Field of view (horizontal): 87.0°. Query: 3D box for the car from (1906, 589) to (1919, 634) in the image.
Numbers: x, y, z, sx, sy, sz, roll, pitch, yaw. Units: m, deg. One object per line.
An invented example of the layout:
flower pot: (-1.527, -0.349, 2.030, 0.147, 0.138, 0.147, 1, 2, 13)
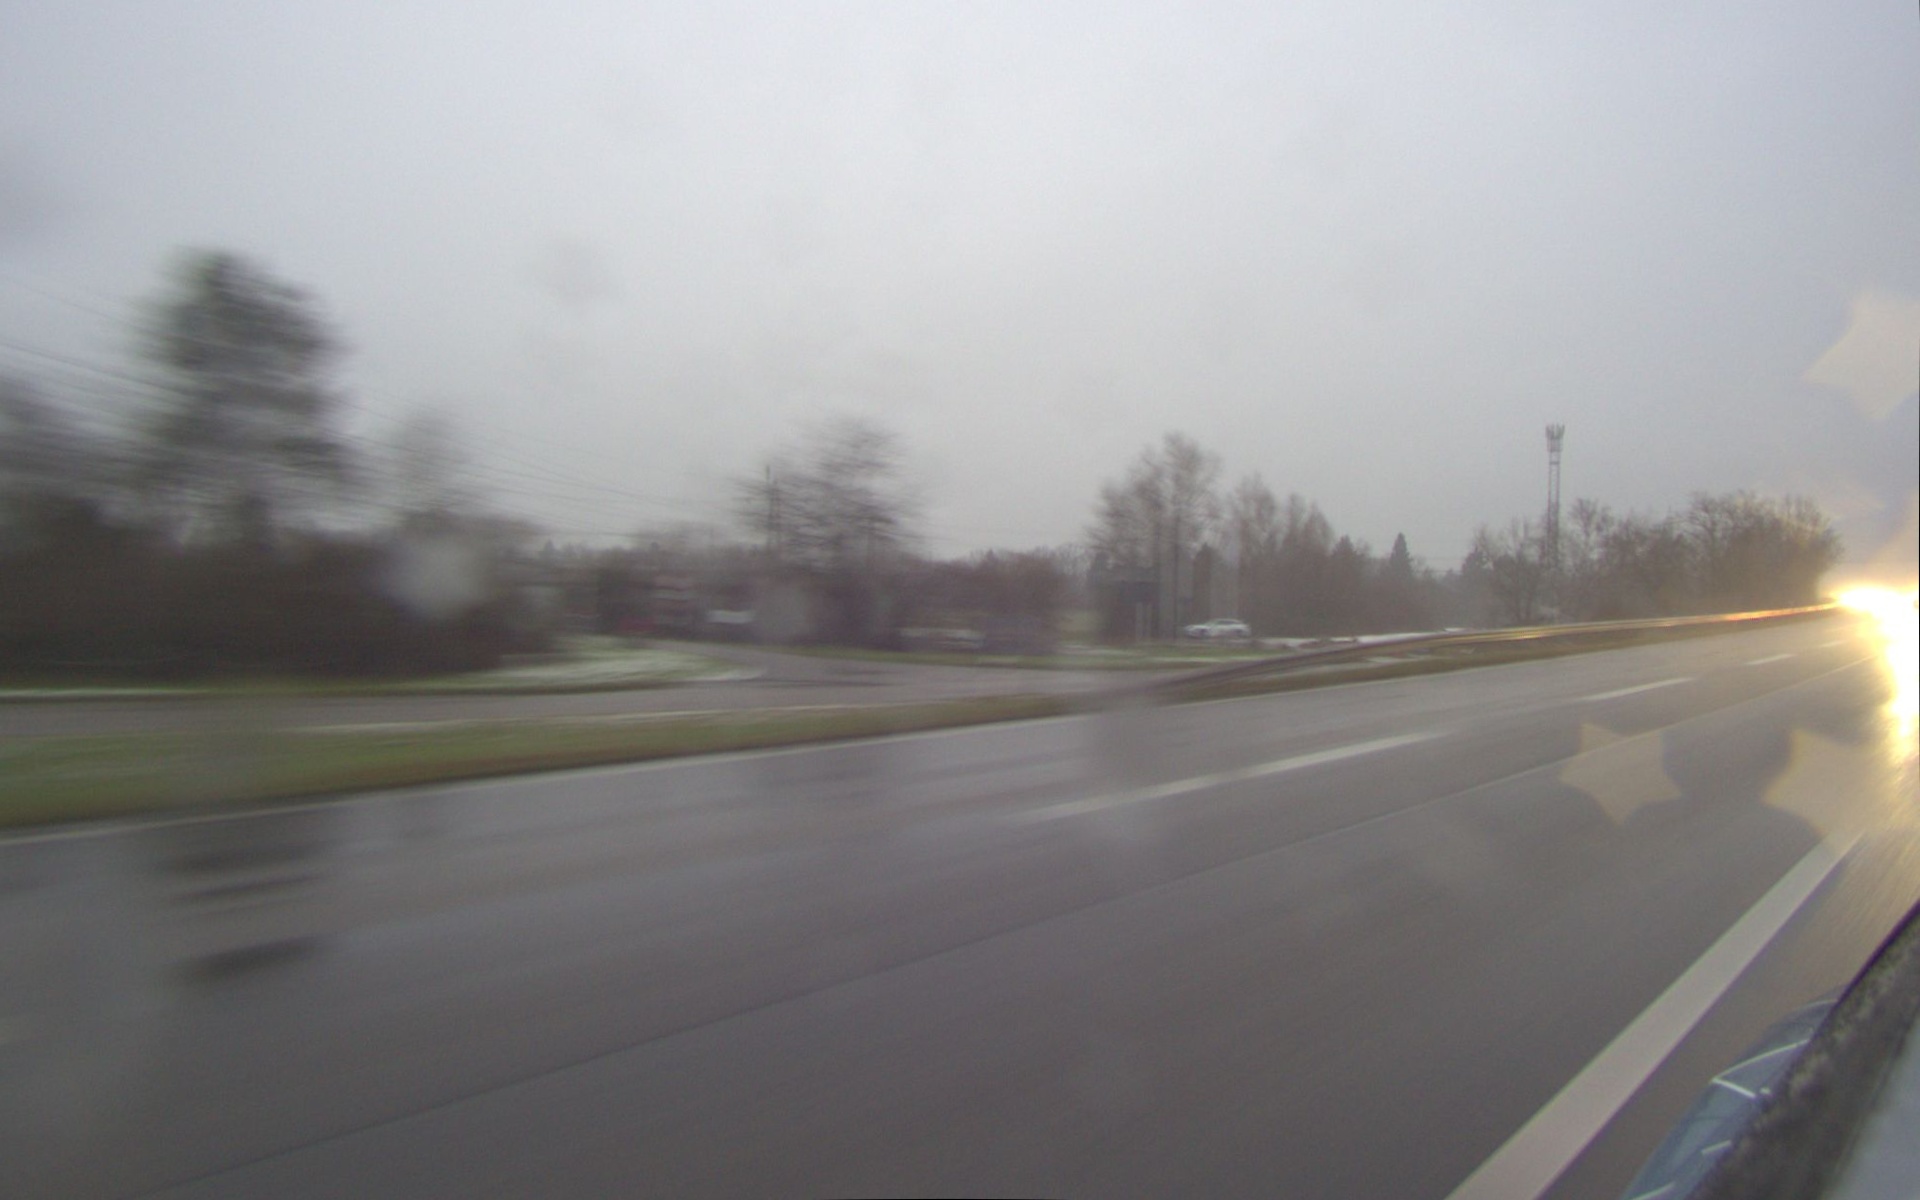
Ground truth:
car: (34.602, 0.415, 35.427, 3.931, 1.522, 1.799, 1, -1, -42)
